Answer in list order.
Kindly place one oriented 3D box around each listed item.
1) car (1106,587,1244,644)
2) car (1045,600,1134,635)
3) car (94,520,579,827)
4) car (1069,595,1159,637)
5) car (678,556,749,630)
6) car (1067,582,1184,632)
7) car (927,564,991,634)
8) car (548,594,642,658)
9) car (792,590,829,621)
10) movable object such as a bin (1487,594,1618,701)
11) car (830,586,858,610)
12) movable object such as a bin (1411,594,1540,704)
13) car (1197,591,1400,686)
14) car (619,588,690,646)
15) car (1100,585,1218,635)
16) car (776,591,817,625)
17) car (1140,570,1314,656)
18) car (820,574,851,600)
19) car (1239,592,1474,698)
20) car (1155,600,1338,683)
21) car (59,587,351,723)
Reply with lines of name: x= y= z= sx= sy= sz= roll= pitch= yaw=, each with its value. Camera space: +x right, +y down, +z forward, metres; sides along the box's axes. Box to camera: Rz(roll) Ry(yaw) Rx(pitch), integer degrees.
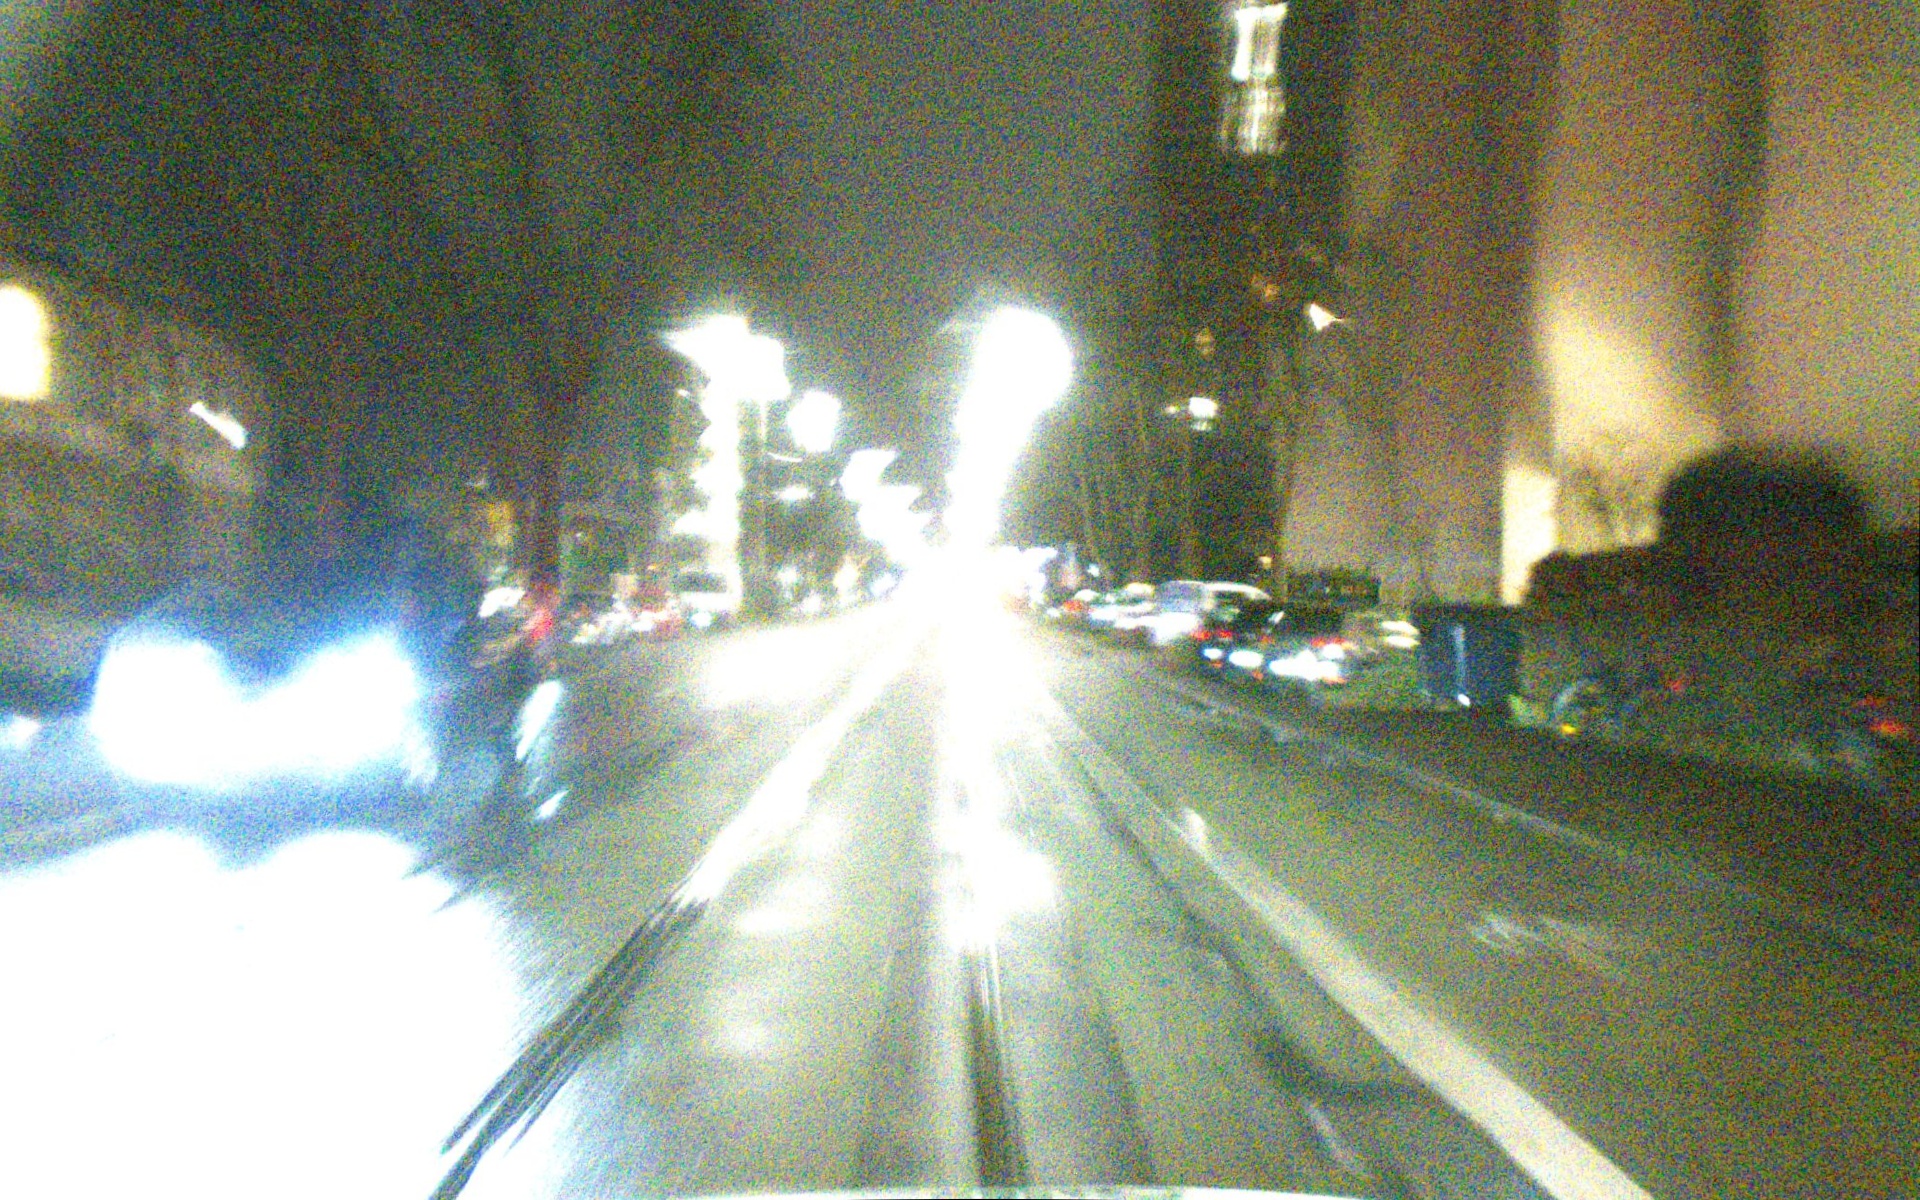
car: x=6.019 y=0.399 z=45.910 sx=1.661 sy=1.428 sz=4.433 roll=2 pitch=2 yaw=41
car: x=6.119 y=0.824 z=77.969 sx=4.217 sy=1.479 sz=1.919 roll=2 pitch=0 yaw=-45
car: x=-4.332 y=0.420 z=12.349 sx=1.899 sy=1.847 sz=4.385 roll=-1 pitch=1 yaw=0
car: x=6.728 y=0.712 z=71.889 sx=2.019 sy=1.651 sz=3.806 roll=2 pitch=0 yaw=41
car: x=-9.175 y=-0.299 z=61.991 sx=1.984 sy=2.542 sz=5.605 roll=3 pitch=1 yaw=-3
car: x=5.586 y=0.255 z=55.584 sx=3.856 sy=1.560 sz=1.794 roll=2 pitch=0 yaw=-42
car: x=-0.089 y=-0.046 z=63.425 sx=2.172 sy=2.484 sz=5.382 roll=1 pitch=0 yaw=-2
car: x=-9.031 y=0.623 z=41.195 sx=1.577 sy=1.453 sz=3.807 roll=2 pitch=0 yaw=-2
car: x=-9.410 y=0.340 z=104.600 sx=1.959 sy=1.816 sz=3.999 roll=3 pitch=-1 yaw=-1
movable object such as a bin: x=8.203 y=0.643 z=22.924 sx=1.387 sy=1.431 sz=1.020 roll=0 pitch=0 yaw=-21
car: x=-9.513 y=-0.152 z=135.724 sx=1.982 sy=1.791 sz=3.999 roll=3 pitch=-1 yaw=-1
movable object such as a bin: x=6.947 y=0.638 z=22.320 sx=1.328 sy=1.432 sz=1.020 roll=1 pitch=0 yaw=-21
car: x=5.882 y=0.624 z=28.486 sx=1.775 sy=1.514 sz=3.833 roll=1 pitch=0 yaw=41
car: x=-9.196 y=0.473 z=49.962 sx=1.608 sy=1.533 sz=3.618 roll=2 pitch=2 yaw=-3
car: x=6.386 y=0.327 z=52.801 sx=1.791 sy=1.458 sz=3.829 roll=2 pitch=0 yaw=44
car: x=-9.490 y=0.458 z=96.253 sx=2.066 sy=1.795 sz=4.962 roll=3 pitch=-1 yaw=-3
car: x=6.442 y=0.320 z=39.684 sx=4.138 sy=1.871 sz=1.933 roll=2 pitch=0 yaw=-42
car: x=-9.389 y=-0.959 z=124.866 sx=1.982 sy=1.791 sz=3.999 roll=3 pitch=-1 yaw=-1
car: x=6.179 y=0.698 z=25.602 sx=3.759 sy=1.483 sz=1.742 roll=2 pitch=0 yaw=-43
car: x=5.580 y=0.815 z=31.981 sx=1.573 sy=1.463 sz=3.808 roll=2 pitch=0 yaw=44
car: x=-9.030 y=0.627 z=20.174 sx=1.634 sy=1.411 sz=4.001 roll=3 pitch=-1 yaw=0
